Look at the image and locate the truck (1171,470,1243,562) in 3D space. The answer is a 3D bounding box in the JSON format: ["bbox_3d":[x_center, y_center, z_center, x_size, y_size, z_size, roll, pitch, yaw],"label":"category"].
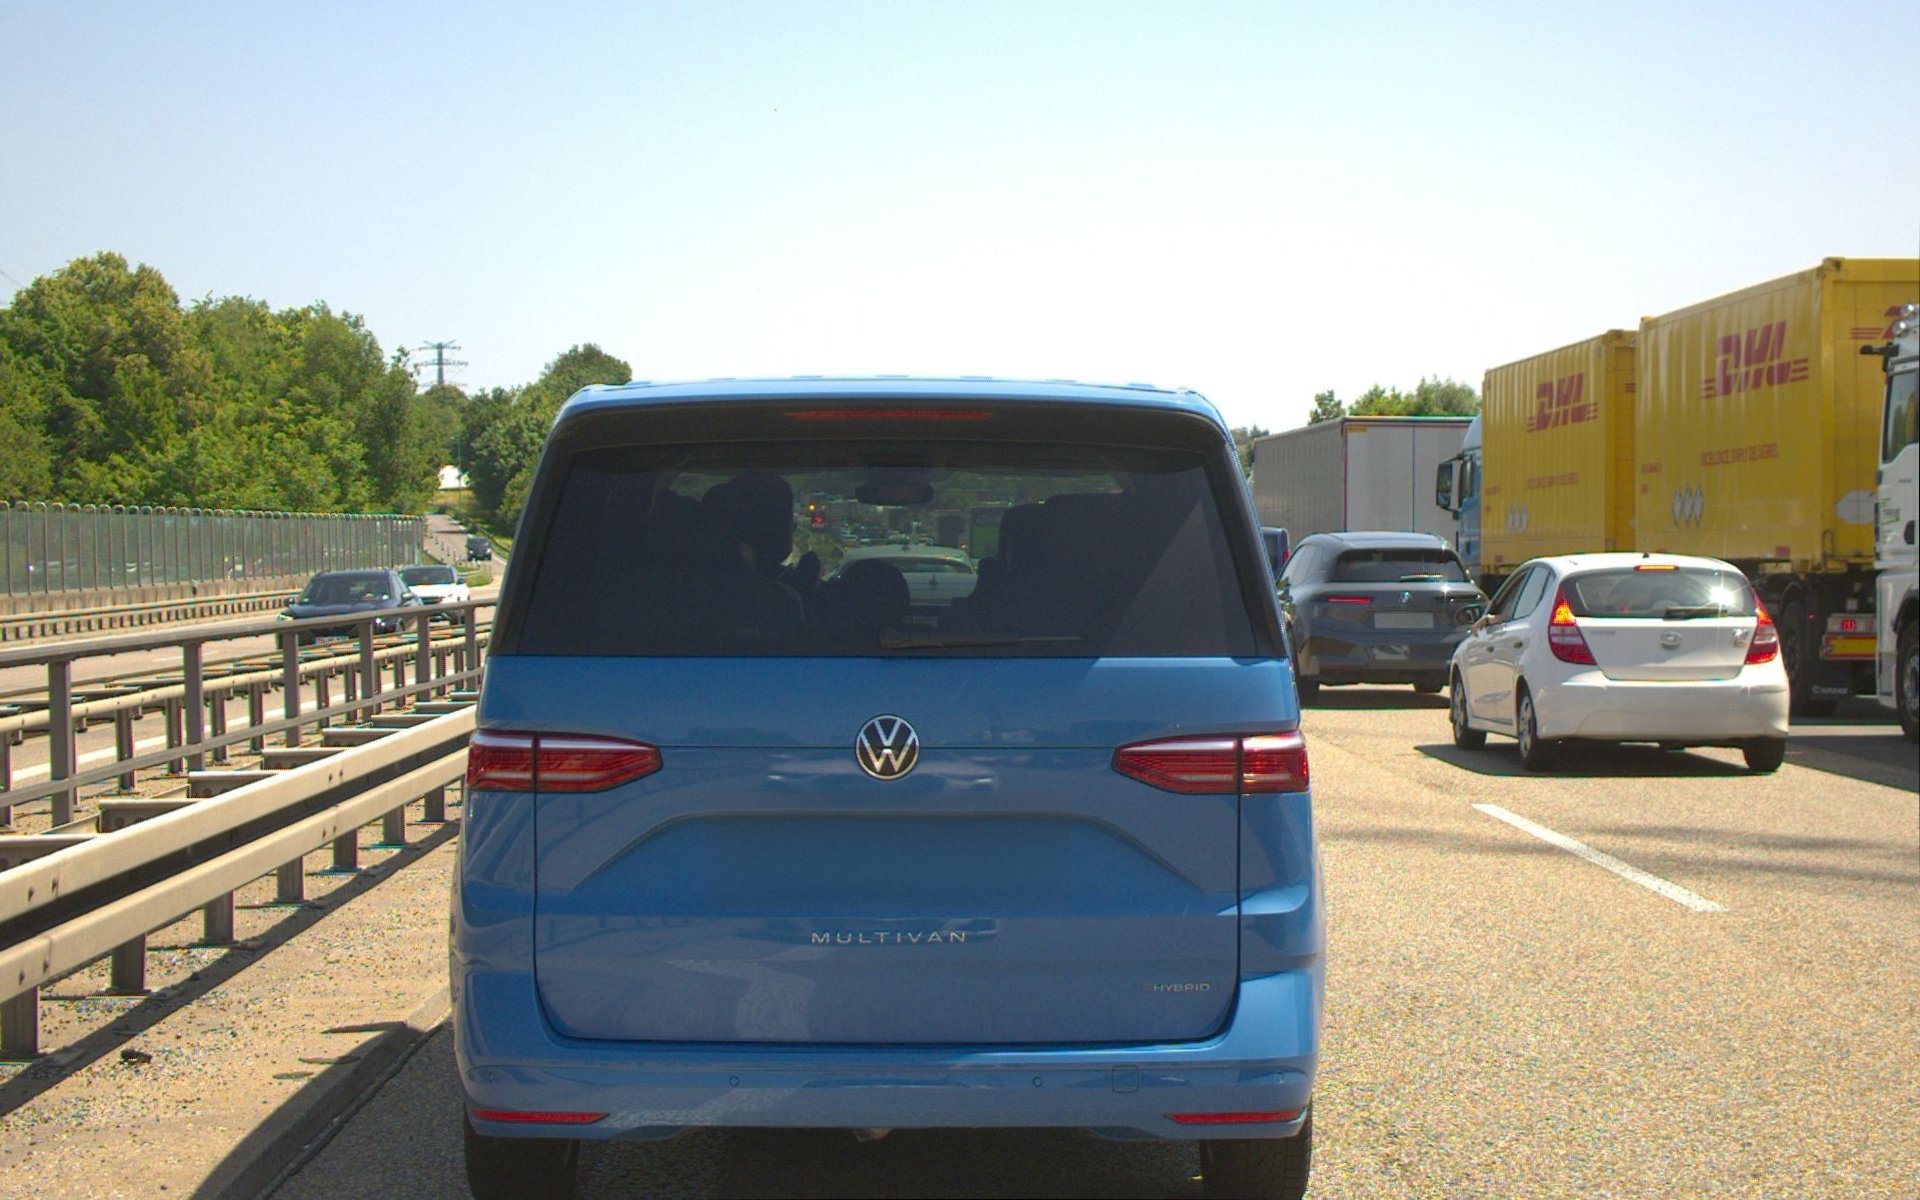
[{"bbox_3d":[7.104,-2.394,99.253,1.742,2.540,4.210,1,0,0],"label":"truck"}]

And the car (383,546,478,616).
[{"bbox_3d":[-13.206,-0.478,85.872,1.806,1.634,4.000,-2,0,-2],"label":"car"}]

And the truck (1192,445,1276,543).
[{"bbox_3d":[7.161,-2.755,90.318,1.798,2.441,4.504,1,0,0],"label":"truck"}]

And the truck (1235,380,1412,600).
[{"bbox_3d":[7.981,-2.345,76.462,3.026,4.595,7.921,1,0,0],"label":"truck"}]

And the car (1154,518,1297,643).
[{"bbox_3d":[4.274,-0.315,55.890,1.962,1.929,3.932,1,0,0],"label":"car"}]

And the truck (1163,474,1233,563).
[{"bbox_3d":[7.207,-2.452,104.374,1.797,2.587,4.305,1,0,0],"label":"truck"}]

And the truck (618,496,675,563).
[{"bbox_3d":[-21.098,-4.708,231.861,2.929,4.279,6.858,-3,0,1],"label":"truck"}]

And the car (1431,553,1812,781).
[{"bbox_3d":[4.613,0.429,24.529,1.815,1.465,3.932,1,0,-2],"label":"car"}]

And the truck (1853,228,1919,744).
[{"bbox_3d":[8.767,-0.832,22.578,2.852,3.921,10.610,1,0,-1],"label":"truck"}]

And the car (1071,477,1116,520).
[{"bbox_3d":[5.796,-4.387,149.531,1.797,1.745,3.943,1,0,0],"label":"car"}]

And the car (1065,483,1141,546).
[{"bbox_3d":[4.027,-2.412,97.560,1.919,1.700,4.000,1,0,-1],"label":"car"}]

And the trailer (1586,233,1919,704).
[{"bbox_3d":[8.586,-1.157,34.416,2.682,4.074,8.981,1,0,-2],"label":"trailer"}]

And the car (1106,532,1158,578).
[{"bbox_3d":[6.705,-1.735,134.455,1.797,1.745,3.943,1,0,0],"label":"car"}]

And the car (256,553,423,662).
[{"bbox_3d":[-9.337,0.095,52.012,1.881,1.547,4.190,1,0,-2],"label":"car"}]

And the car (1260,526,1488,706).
[{"bbox_3d":[4.088,0.140,34.495,1.815,1.673,3.932,1,0,0],"label":"car"}]

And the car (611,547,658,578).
[{"bbox_3d":[-15.836,-1.834,167.362,1.871,1.437,4.386,-2,1,-1],"label":"car"}]

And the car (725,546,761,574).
[{"bbox_3d":[-13.261,-2.420,210.162,1.871,1.524,3.609,-6,1,-1],"label":"car"}]

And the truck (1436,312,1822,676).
[{"bbox_3d":[8.259,-1.228,43.874,2.699,4.074,9.940,1,0,-1],"label":"truck"}]

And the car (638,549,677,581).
[{"bbox_3d":[-17.440,-2.015,198.352,1.839,1.816,4.748,-1,0,-1],"label":"car"}]

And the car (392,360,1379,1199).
[{"bbox_3d":[-0.167,0.462,8.813,1.930,1.867,4.000,1,0,0],"label":"car"}]

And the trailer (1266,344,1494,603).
[{"bbox_3d":[8.003,-2.300,67.034,3.026,4.595,10.925,1,0,0],"label":"trailer"}]
